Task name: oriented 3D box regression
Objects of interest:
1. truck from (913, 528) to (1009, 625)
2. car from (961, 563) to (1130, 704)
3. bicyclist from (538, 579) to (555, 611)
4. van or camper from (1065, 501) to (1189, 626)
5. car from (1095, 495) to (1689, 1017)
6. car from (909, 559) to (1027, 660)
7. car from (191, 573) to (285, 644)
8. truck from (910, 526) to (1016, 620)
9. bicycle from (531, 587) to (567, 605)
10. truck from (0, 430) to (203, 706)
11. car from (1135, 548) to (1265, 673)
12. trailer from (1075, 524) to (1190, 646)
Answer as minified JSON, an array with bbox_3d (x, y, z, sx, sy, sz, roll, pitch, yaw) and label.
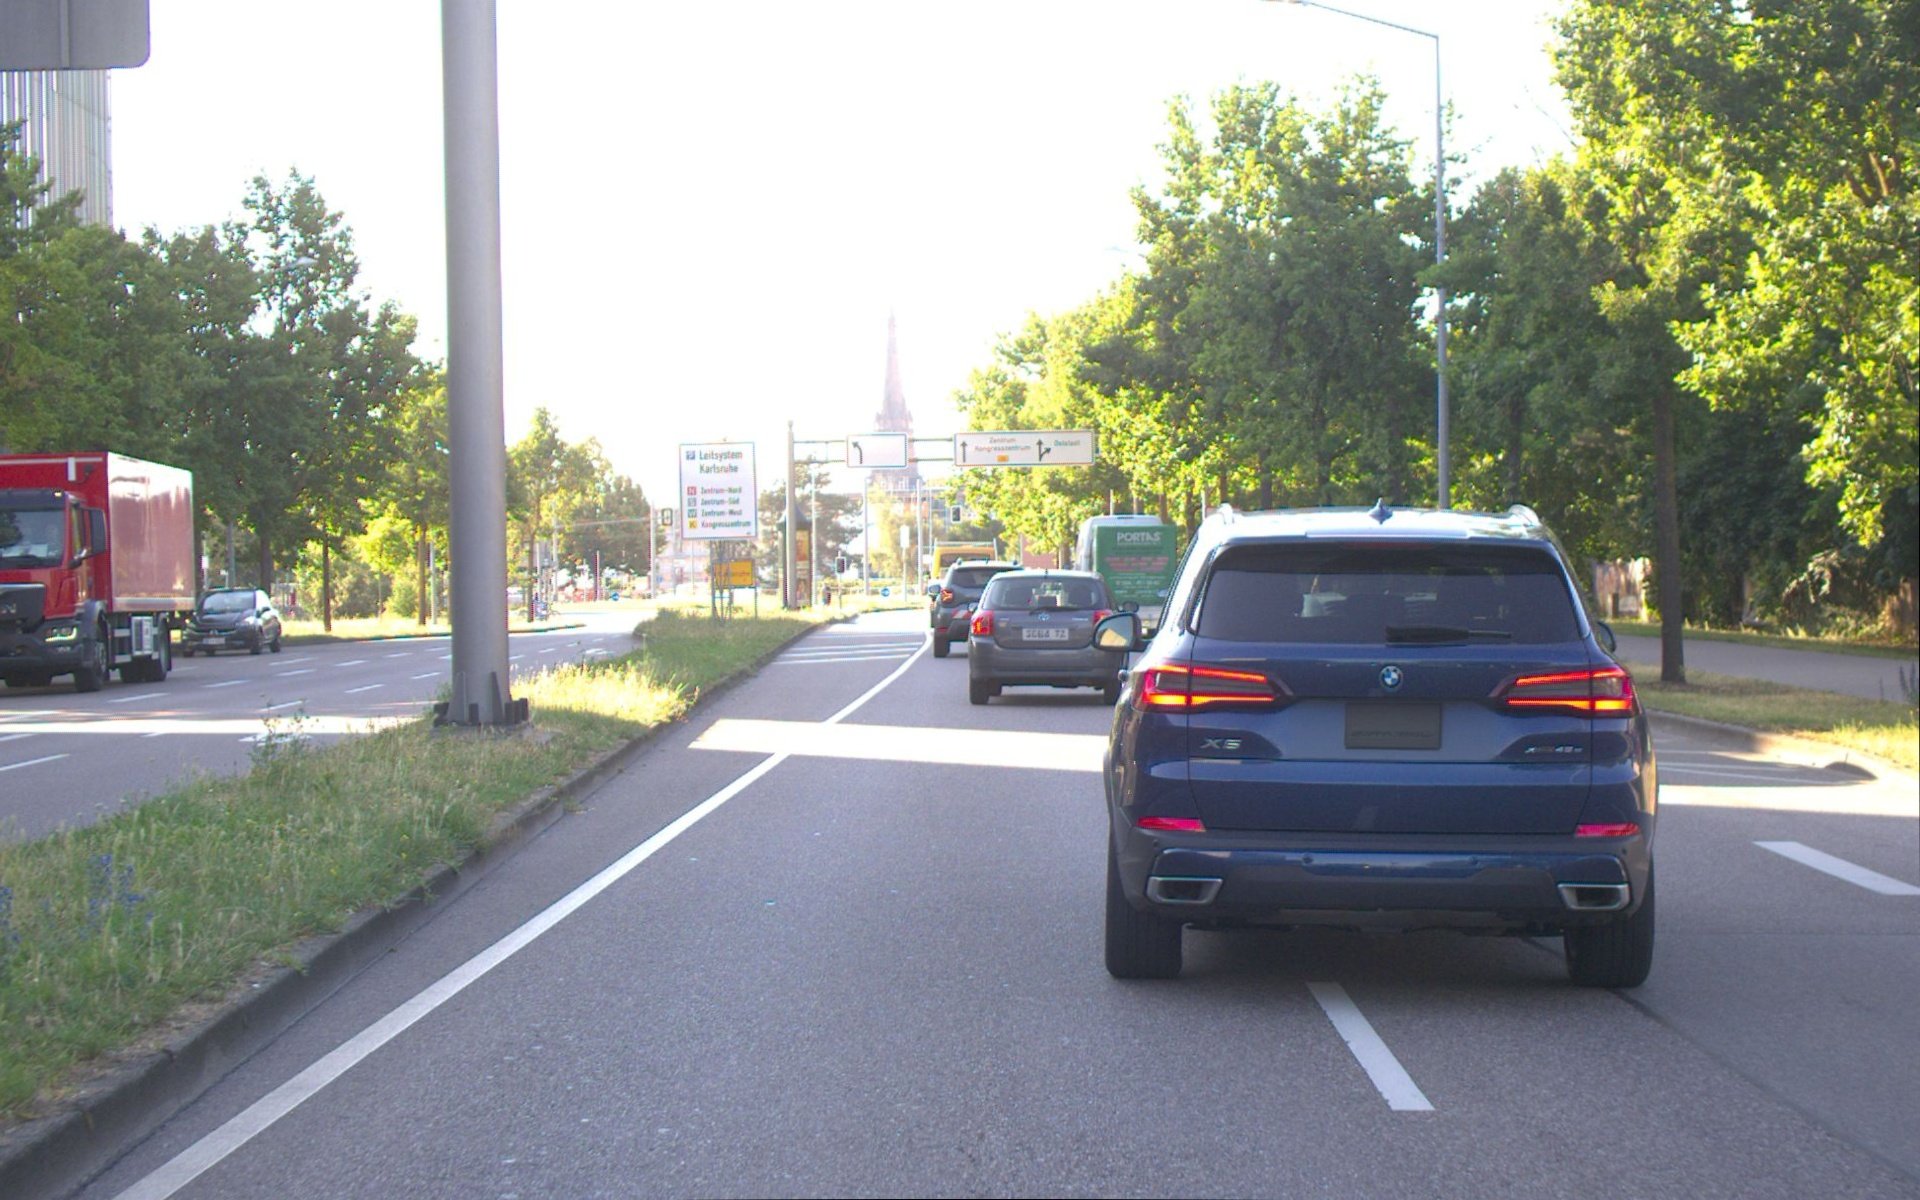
[{"bbox_3d":[0.052,-0.675,97.003,2.220,2.642,4.772,-1,0,6],"label":"truck"},{"bbox_3d":[0.909,0.338,38.429,1.747,1.468,3.820,-1,0,0],"label":"car"},{"bbox_3d":[-23.106,-0.293,192.116,0.813,1.764,0.496,0,0,14],"label":"bicyclist"},{"bbox_3d":[3.623,-0.805,75.717,2.284,2.620,6.583,0,1,-1],"label":"van or camper"},{"bbox_3d":[1.532,0.521,13.758,1.955,1.721,4.699,0,0,2],"label":"car"},{"bbox_3d":[0.172,0.156,58.936,1.905,1.654,4.000,-1,0,1],"label":"car"},{"bbox_3d":[-16.004,0.161,76.336,1.595,1.507,3.868,-1,1,-6],"label":"car"},{"bbox_3d":[0.037,-0.764,97.948,2.580,2.549,6.252,-1,0,-3],"label":"truck"},{"bbox_3d":[-22.970,-0.233,192.083,1.909,1.016,0.504,0,0,15],"label":"bicycle"},{"bbox_3d":[-13.802,-0.489,52.482,2.998,3.798,10.091,-1,1,-5],"label":"truck"},{"bbox_3d":[3.431,0.115,48.919,1.747,1.615,3.819,-1,2,5],"label":"car"},{"bbox_3d":[3.473,-0.313,69.659,2.090,2.392,3.501,1,0,-1],"label":"trailer"}]
